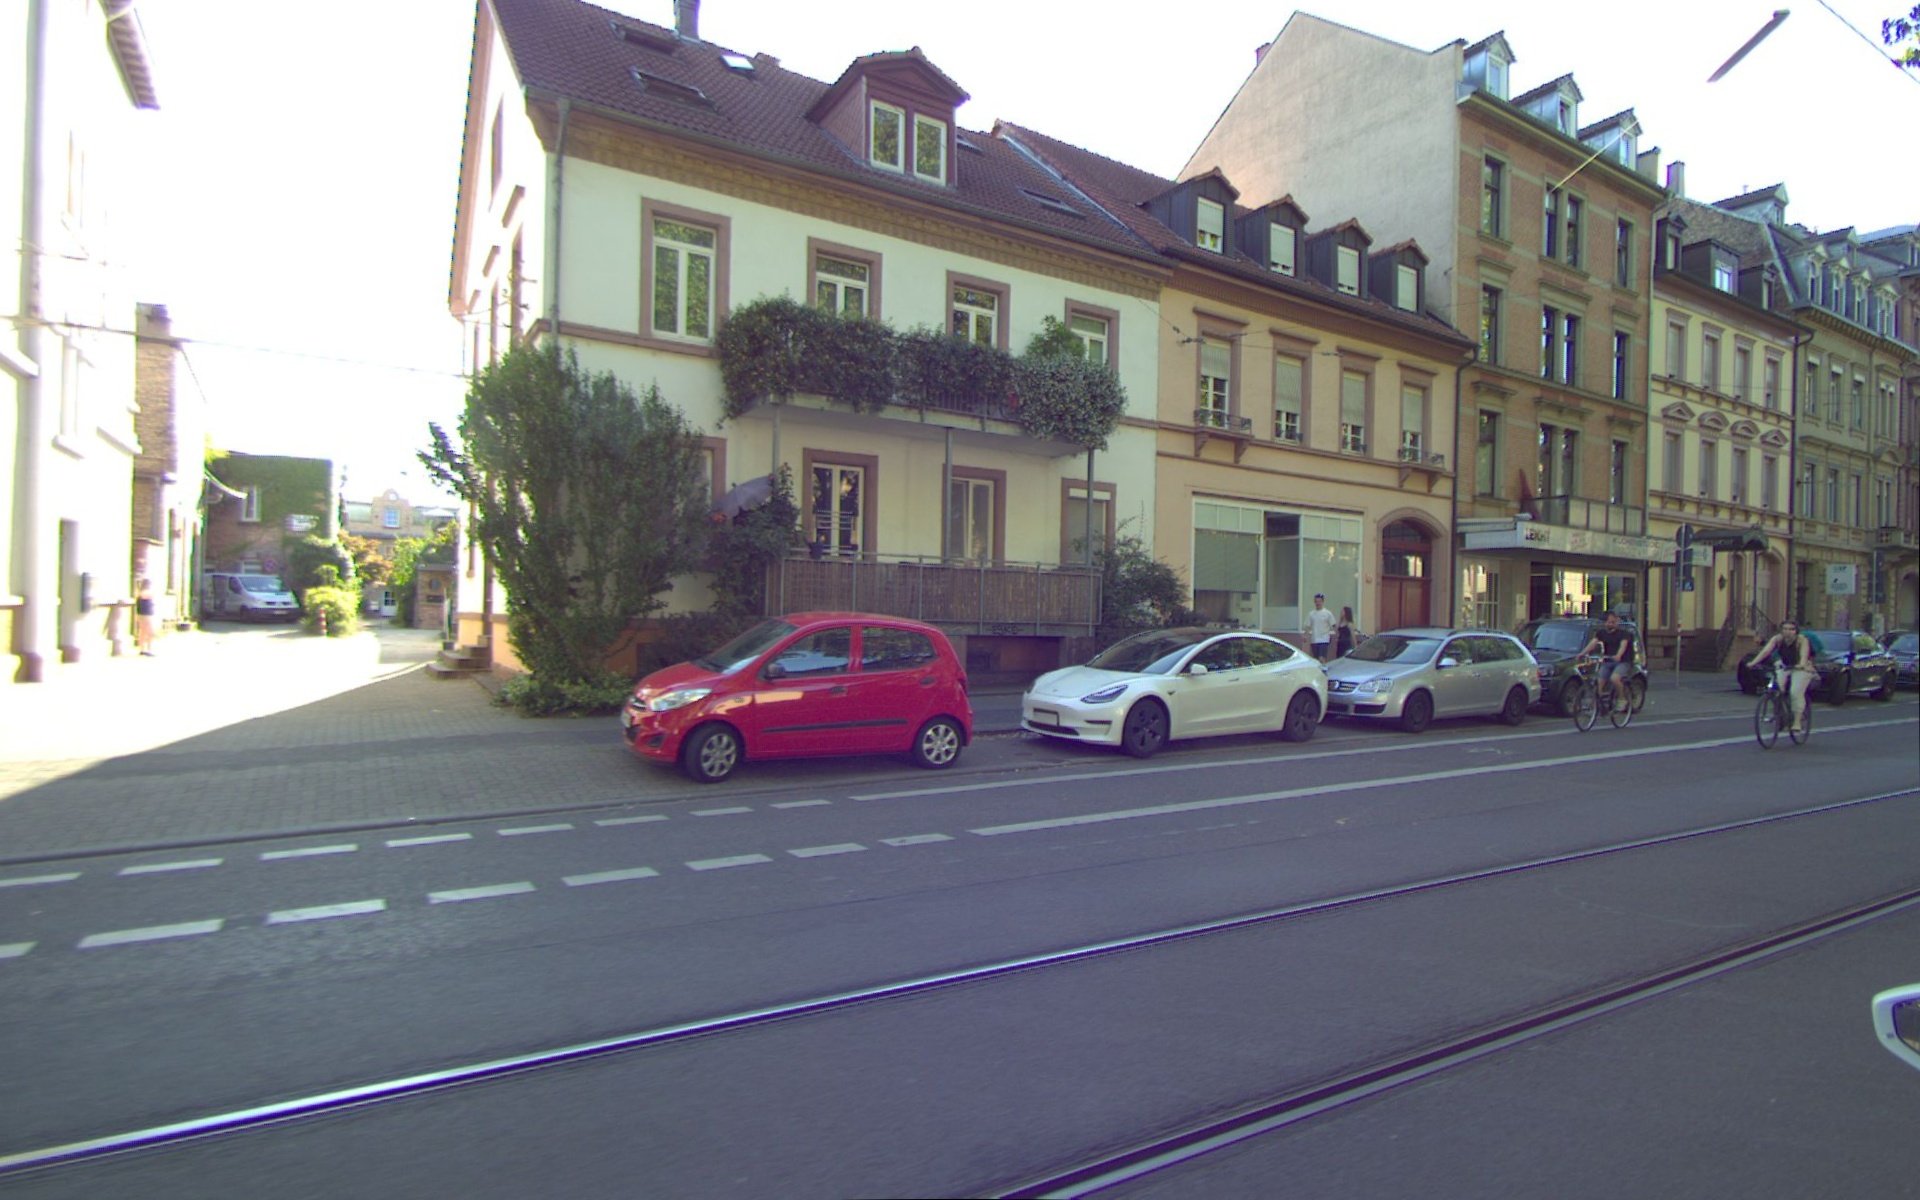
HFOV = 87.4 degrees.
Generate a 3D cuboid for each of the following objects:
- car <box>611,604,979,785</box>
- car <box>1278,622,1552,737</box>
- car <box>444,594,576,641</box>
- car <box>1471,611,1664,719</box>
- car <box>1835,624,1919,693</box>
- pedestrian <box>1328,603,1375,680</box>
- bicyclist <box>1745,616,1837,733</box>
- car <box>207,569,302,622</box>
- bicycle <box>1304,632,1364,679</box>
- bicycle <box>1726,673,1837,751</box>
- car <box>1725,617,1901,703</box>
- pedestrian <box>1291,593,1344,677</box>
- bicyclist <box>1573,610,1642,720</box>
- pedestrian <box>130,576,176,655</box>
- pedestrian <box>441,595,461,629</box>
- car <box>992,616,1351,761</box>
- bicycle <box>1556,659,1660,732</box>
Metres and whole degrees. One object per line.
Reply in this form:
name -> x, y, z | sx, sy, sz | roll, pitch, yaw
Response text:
car -> -1.672, 0.868, 10.304 | 3.405, 1.583, 1.563 | 1, -1, -28
car -> 7.228, 1.169, 15.846 | 4.401, 1.523, 1.817 | 2, 1, -33
car -> -14.514, 0.575, 32.512 | 1.600, 1.424, 3.563 | 1, -1, 42
car -> 11.188, 1.144, 18.438 | 3.645, 1.755, 1.547 | 2, 1, -33
car -> 27.379, 1.662, 29.053 | 4.423, 1.805, 1.953 | 2, 0, -33
pedestrian -> 7.773, 0.810, 19.942 | 0.628, 1.480, 0.653 | 3, 1, 43
bicyclist -> 11.236, 0.986, 13.577 | 1.057, 1.523, 0.635 | 2, -2, -30
car -> -29.054, -0.176, 41.347 | 3.768, 2.019, 1.803 | 2, 1, 30
bicycle -> 8.562, 1.262, 22.972 | 1.703, 1.028, 0.297 | 2, -1, -31
bicycle -> 11.029, 1.469, 13.469 | 1.899, 0.955, 0.496 | 2, -2, -30
car -> 21.012, 1.416, 24.686 | 4.885, 1.805, 1.952 | 2, 2, -34
pedestrian -> 7.304, 0.701, 20.510 | 0.763, 1.656, 0.653 | 3, 1, 43
bicyclist -> 10.065, 0.999, 15.613 | 0.886, 1.656, 0.533 | 2, -3, -30
pedestrian -> -17.412, 0.332, 21.680 | 0.585, 1.661, 0.503 | 1, 0, 18
pedestrian -> -23.422, 0.558, 46.219 | 0.551, 1.548, 0.556 | 2, 1, 19
car -> 2.834, 1.031, 13.013 | 4.639, 1.523, 1.816 | 2, 1, -34
bicycle -> 10.023, 1.445, 15.519 | 2.015, 1.061, 0.482 | 2, -2, -30
